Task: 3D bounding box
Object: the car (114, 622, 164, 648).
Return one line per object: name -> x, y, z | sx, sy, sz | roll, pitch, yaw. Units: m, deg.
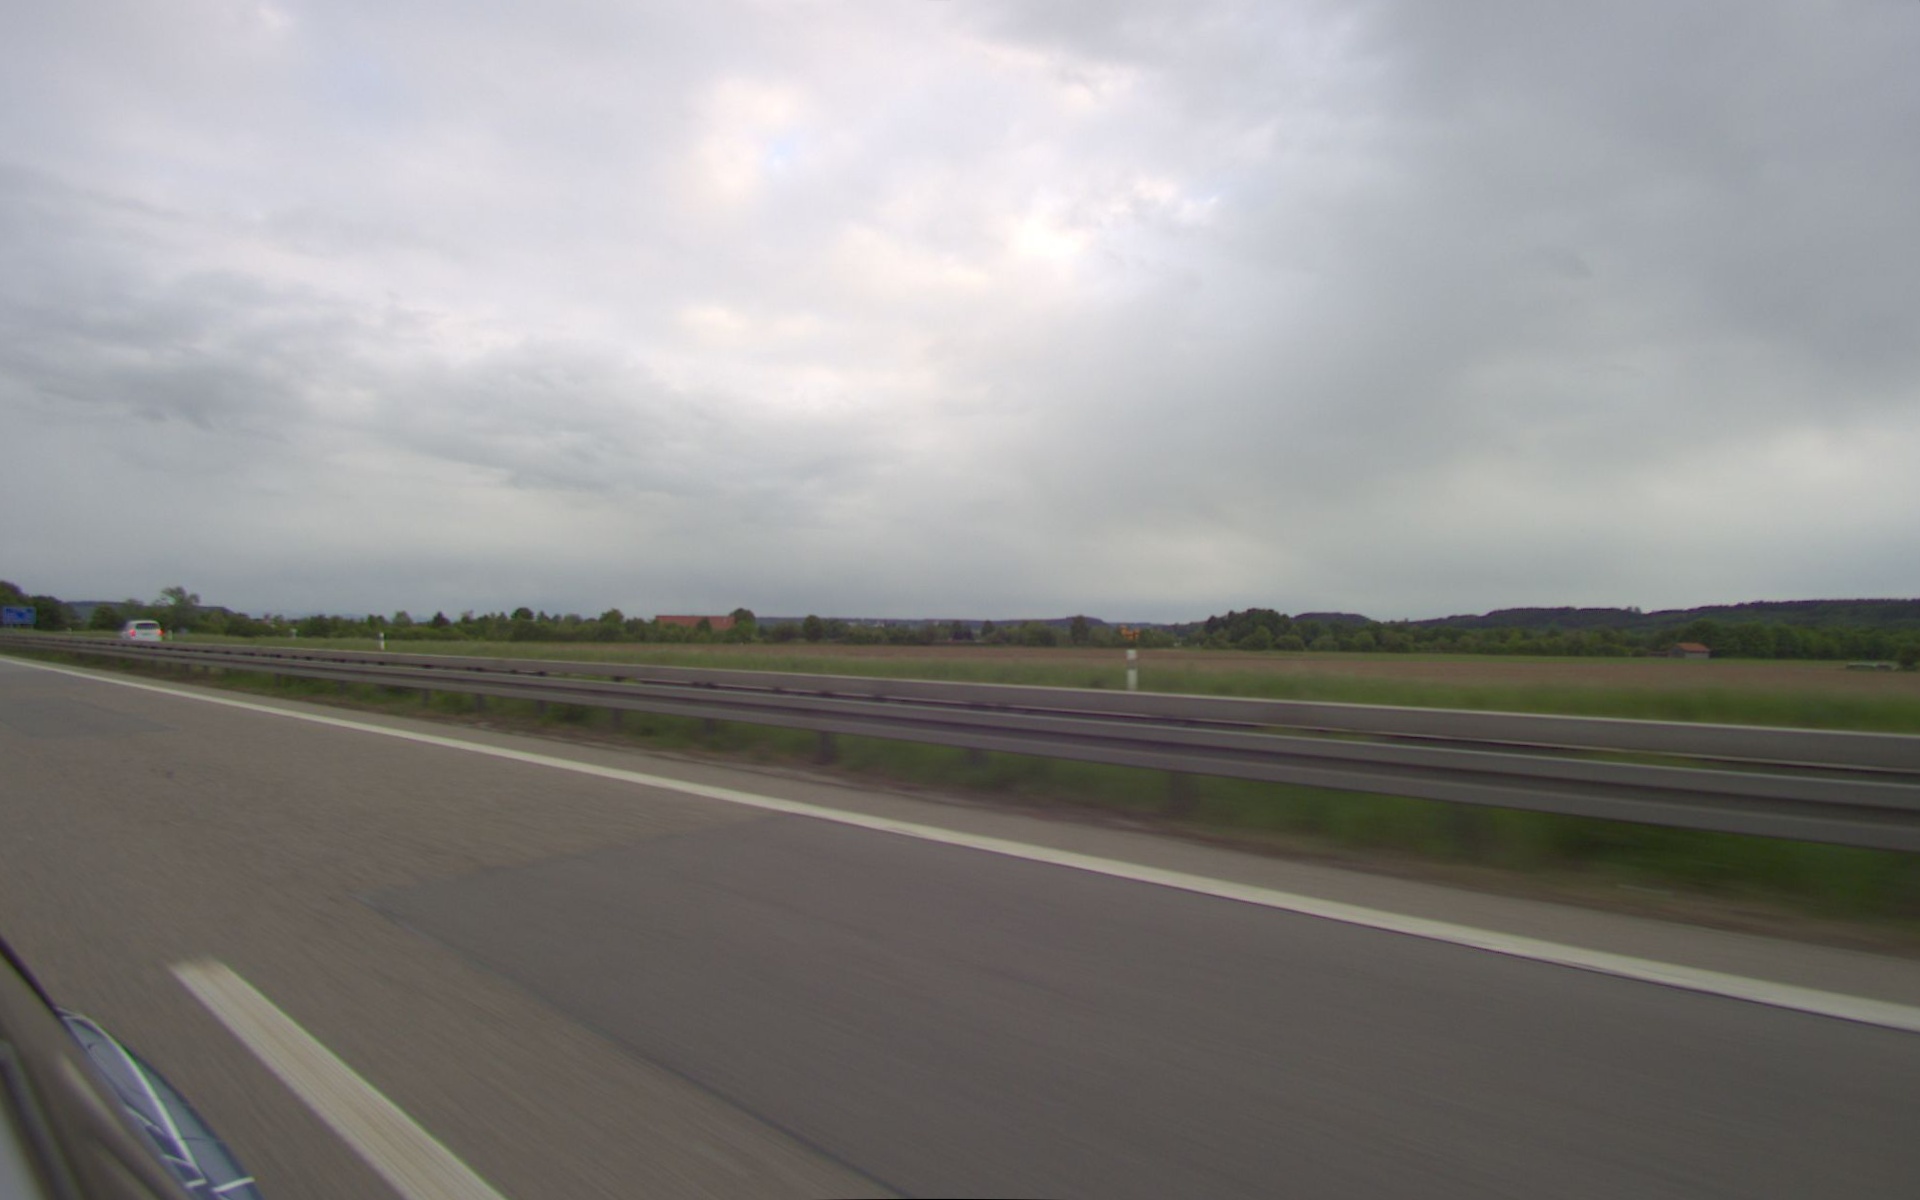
car -> -60.146, 2.550, 74.102 | 4.948, 1.778, 1.973 | -1, -1, 41
